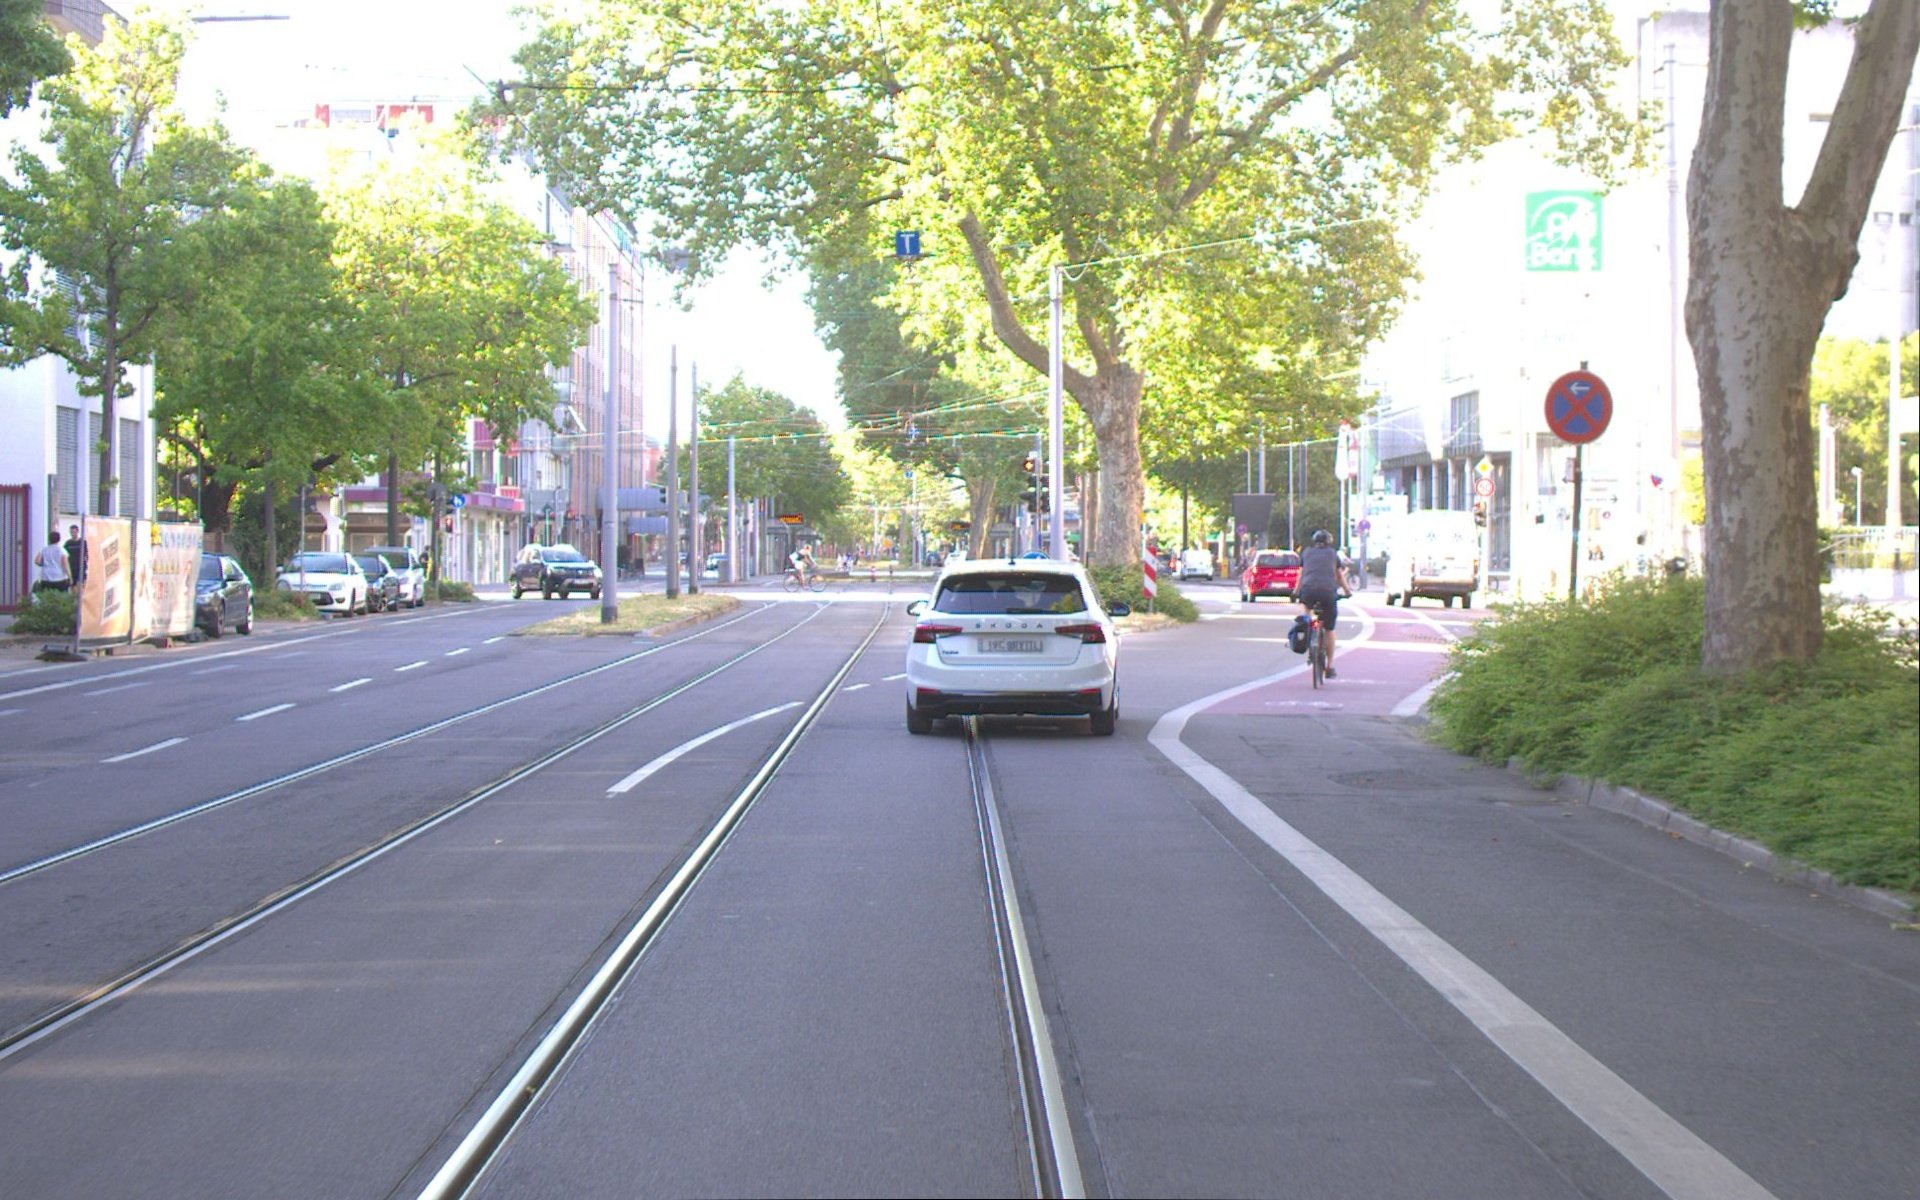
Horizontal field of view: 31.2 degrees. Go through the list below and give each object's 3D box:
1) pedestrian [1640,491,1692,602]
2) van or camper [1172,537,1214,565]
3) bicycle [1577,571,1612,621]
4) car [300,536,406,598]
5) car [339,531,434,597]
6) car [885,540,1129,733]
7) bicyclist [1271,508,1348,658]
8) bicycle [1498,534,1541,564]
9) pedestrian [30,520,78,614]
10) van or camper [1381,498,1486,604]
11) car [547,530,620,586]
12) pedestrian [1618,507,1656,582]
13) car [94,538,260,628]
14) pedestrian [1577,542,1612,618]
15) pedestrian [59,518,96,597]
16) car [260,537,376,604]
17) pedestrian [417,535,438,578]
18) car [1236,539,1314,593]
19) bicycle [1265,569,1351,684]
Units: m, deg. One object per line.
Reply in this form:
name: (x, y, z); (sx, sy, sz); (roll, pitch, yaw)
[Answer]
pedestrian: (10.809, -0.817, 52.650); (0.696, 1.678, 0.930); (0, 1, 17)
van or camper: (15.107, -3.187, 222.983); (2.145, 1.744, 4.432); (-1, 1, -3)
bicycle: (13.840, -0.097, 74.970); (0.675, 1.028, 1.900); (-2, 1, 9)
car: (-14.720, -0.824, 83.577); (1.993, 1.471, 4.650); (0, 1, -3)
car: (-15.051, -0.965, 90.460); (1.993, 1.683, 4.178); (0, 1, -3)
car: (0.465, 0.253, 29.193); (1.802, 1.496, 3.981); (1, 1, 4)
bicyclist: (3.960, -0.202, 38.939); (0.743, 1.663, 0.744); (2, 1, 11)
bicycle: (26.794, -2.457, 164.702); (1.934, 1.438, 0.575); (0, 1, -1)
pedestrian: (-15.679, -0.575, 59.526); (0.635, 1.615, 0.732); (1, 1, -2)
van or camper: (13.051, -1.371, 95.212); (2.269, 2.724, 6.346); (3, 1, 3)
car: (-11.730, -1.328, 107.283); (1.993, 1.683, 4.311); (0, 1, -3)
pedestrian: (15.817, -1.293, 80.344); (0.786, 1.742, 0.772); (0, 1, 5)
car: (-13.715, -0.334, 60.455); (1.993, 1.508, 4.726); (0, 1, -2)
pedestrian: (13.832, -0.449, 74.969); (0.670, 1.613, 1.102); (-2, 1, 9)
pedestrian: (-17.653, -0.846, 68.776); (0.594, 1.565, 0.639); (0, 1, -3)
car: (-14.471, -0.698, 77.660); (1.993, 1.465, 4.406); (0, 1, -3)
pedestrian: (-20.463, -1.669, 132.118); (0.708, 1.657, 1.034); (-1, 1, -5)
car: (8.924, -0.977, 97.667); (1.839, 1.484, 3.717); (0, 1, 0)
bicycle: (3.971, 0.279, 39.093); (0.744, 1.220, 2.155); (2, 1, 11)
